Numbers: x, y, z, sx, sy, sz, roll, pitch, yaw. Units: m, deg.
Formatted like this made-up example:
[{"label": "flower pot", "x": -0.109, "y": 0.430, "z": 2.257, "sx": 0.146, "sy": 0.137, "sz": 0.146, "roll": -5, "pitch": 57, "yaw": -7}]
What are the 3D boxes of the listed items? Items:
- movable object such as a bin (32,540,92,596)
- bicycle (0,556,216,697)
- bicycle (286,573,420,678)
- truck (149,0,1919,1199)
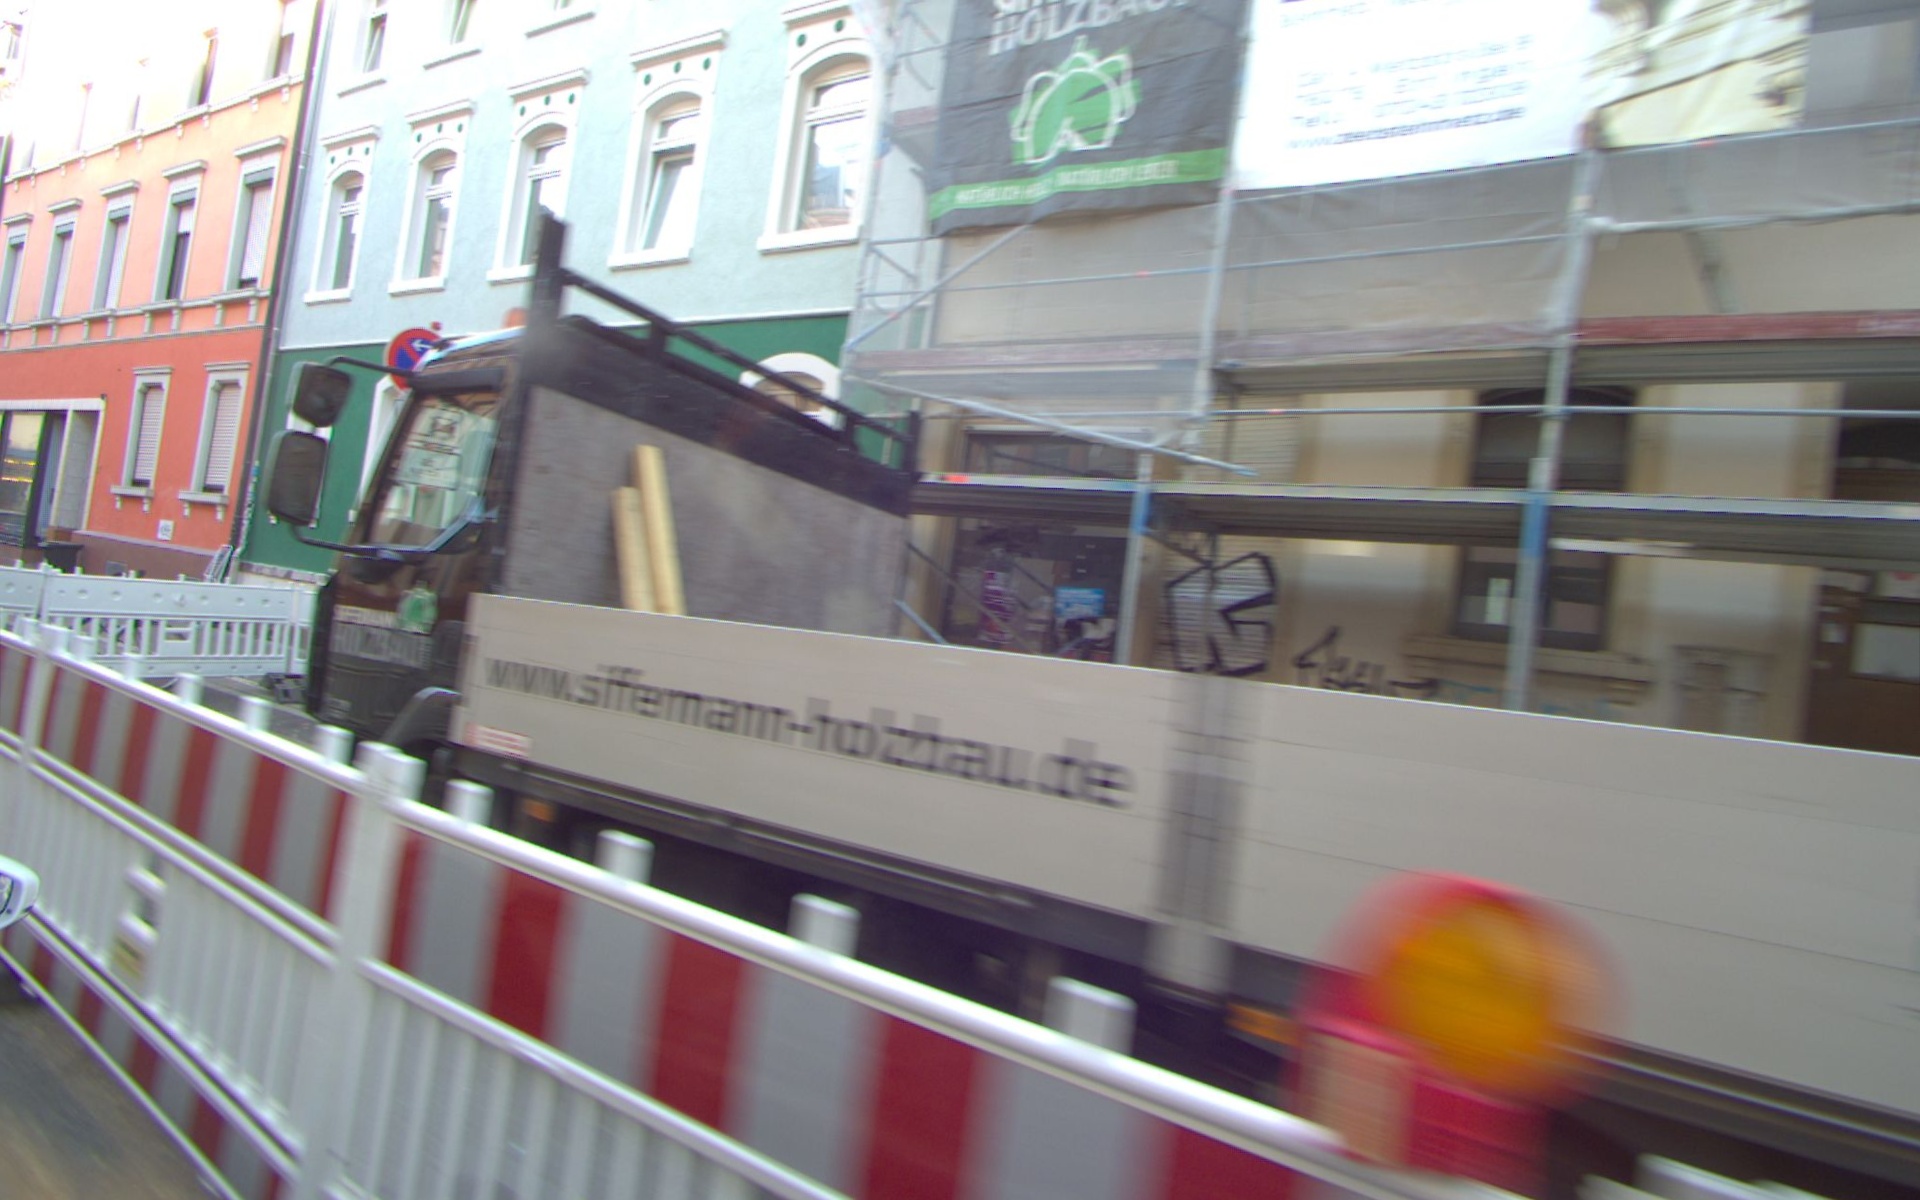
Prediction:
[{"label": "movable object such as a bin", "x": -16.200, "y": -0.576, "z": 18.151, "sx": 0.570, "sy": 0.917, "sz": 0.598, "roll": 5, "pitch": 0, "yaw": 30}, {"label": "bicycle", "x": -8.198, "y": 0.262, "z": 9.360, "sx": 0.632, "sy": 1.121, "sz": 1.858, "roll": 7, "pitch": -4, "yaw": 25}, {"label": "bicycle", "x": -7.785, "y": 0.307, "z": 12.881, "sx": 1.804, "sy": 1.143, "sz": 0.655, "roll": 6, "pitch": 1, "yaw": 32}, {"label": "truck", "x": 0.526, "y": 0.324, "z": 3.506, "sx": 7.271, "sy": 2.843, "sz": 2.669, "roll": 6, "pitch": -4, "yaw": 32}]
